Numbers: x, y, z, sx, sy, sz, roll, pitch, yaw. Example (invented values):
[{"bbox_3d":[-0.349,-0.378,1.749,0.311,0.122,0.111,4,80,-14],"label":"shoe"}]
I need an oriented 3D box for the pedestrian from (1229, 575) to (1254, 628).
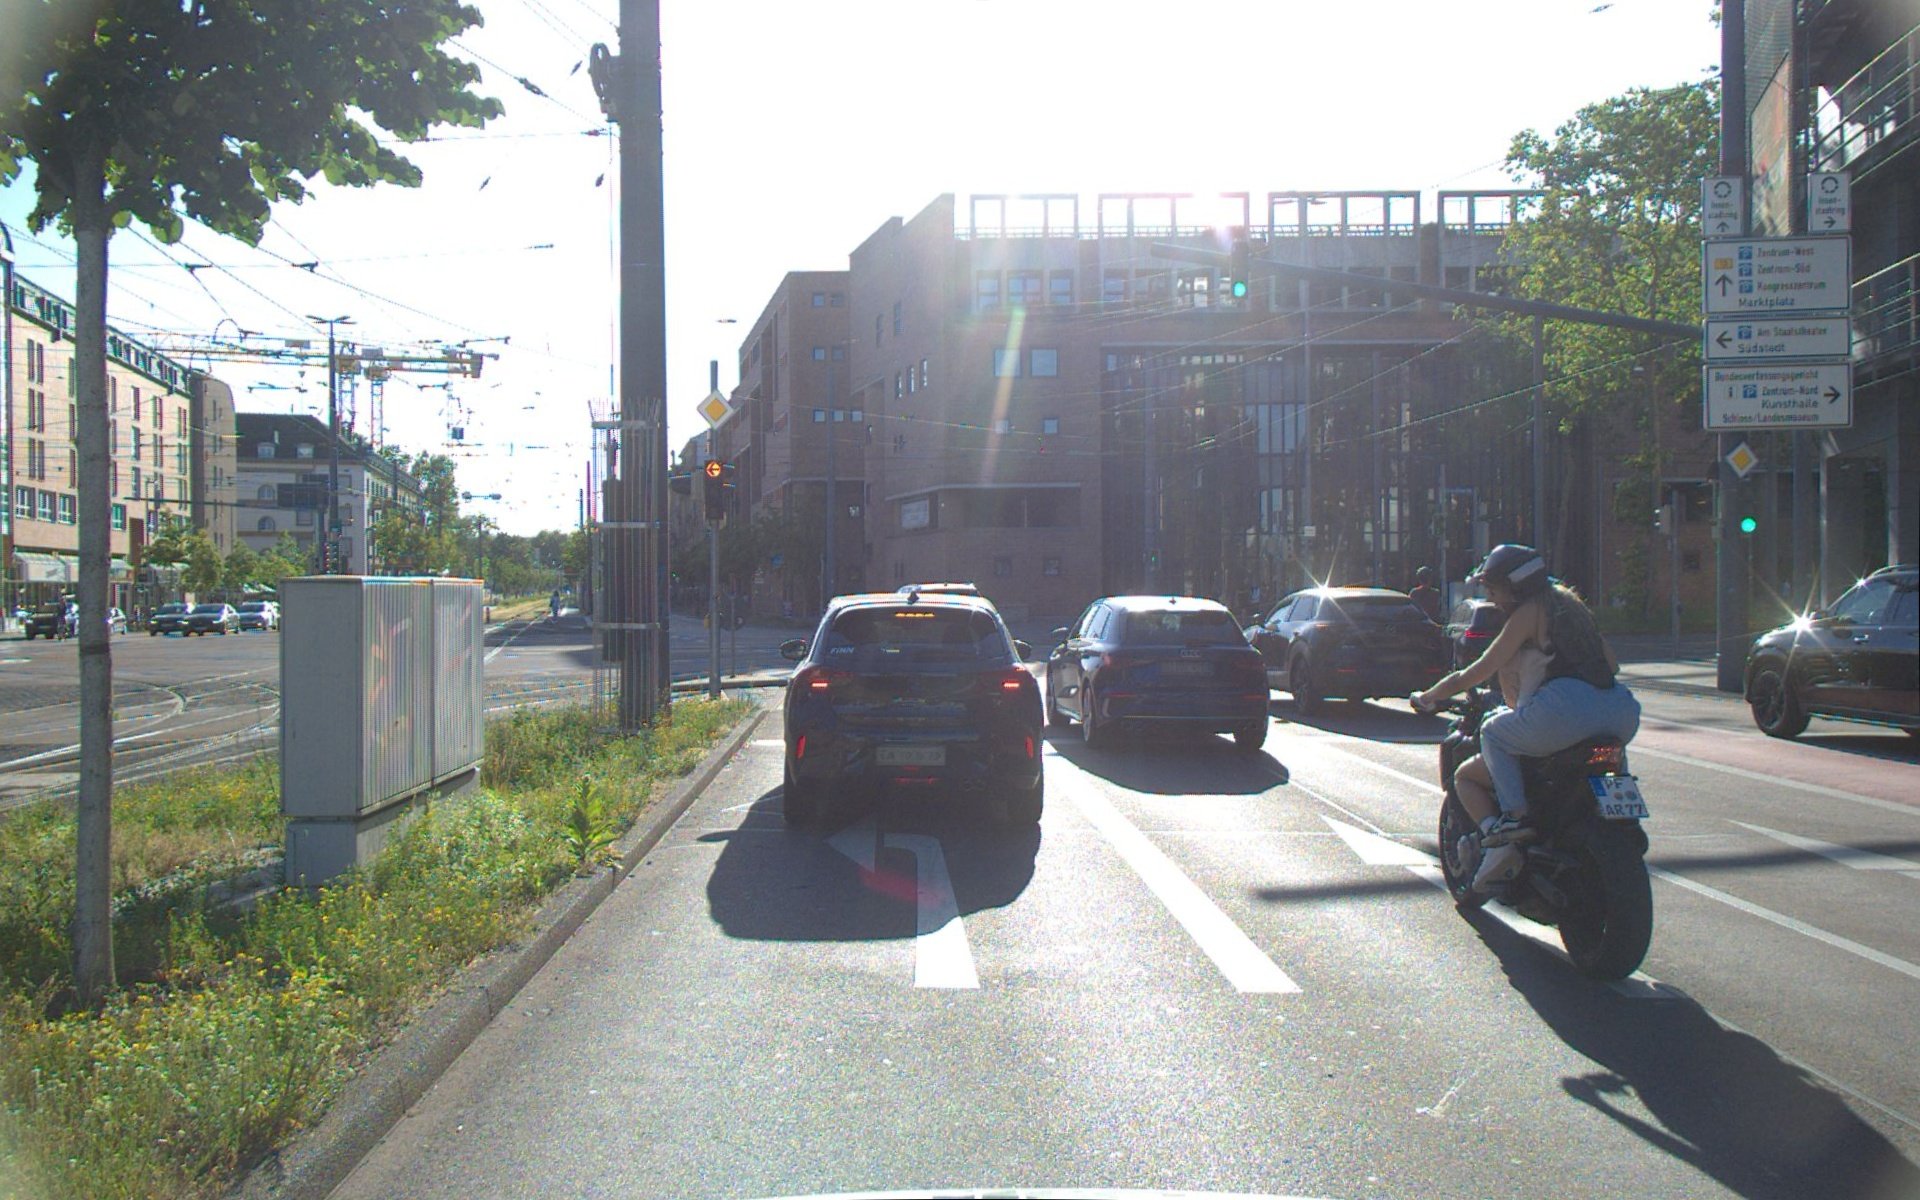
[{"bbox_3d":[9.575,0.059,56.264,0.692,1.789,0.560,-1,0,23],"label":"pedestrian"}]

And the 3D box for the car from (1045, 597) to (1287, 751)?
[{"bbox_3d":[1.982,0.663,17.011,1.703,1.373,3.996,0,0,-5],"label":"car"}]

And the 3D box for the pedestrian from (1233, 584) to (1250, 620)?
[{"bbox_3d":[12.811,0.093,75.297,0.722,1.645,0.561,-1,0,7],"label":"pedestrian"}]

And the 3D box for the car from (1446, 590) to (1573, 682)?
[{"bbox_3d":[9.915,0.592,29.682,1.953,1.444,4.000,2,1,21],"label":"car"}]

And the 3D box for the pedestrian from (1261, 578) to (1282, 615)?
[{"bbox_3d":[13.947,-0.156,74.023,0.881,1.645,0.561,-1,0,7],"label":"pedestrian"}]

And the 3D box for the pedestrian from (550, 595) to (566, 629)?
[{"bbox_3d":[-20.302,0.612,83.466,0.729,1.669,0.766,-1,0,-11],"label":"pedestrian"}]

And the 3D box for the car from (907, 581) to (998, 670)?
[{"bbox_3d":[-0.162,0.477,33.325,1.702,1.680,3.999,0,0,-1],"label":"car"}]

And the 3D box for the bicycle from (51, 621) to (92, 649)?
[{"bbox_3d":[-38.035,1.477,70.815,0.638,1.104,2.920,-1,0,-10],"label":"bicycle"}]

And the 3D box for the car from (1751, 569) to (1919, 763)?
[{"bbox_3d":[9.742,0.585,15.993,1.954,1.780,4.326,-1,0,-3],"label":"car"}]

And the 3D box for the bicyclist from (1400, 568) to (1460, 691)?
[{"bbox_3d":[7.079,0.433,24.927,0.566,1.822,0.862,-1,0,-7],"label":"bicyclist"}]

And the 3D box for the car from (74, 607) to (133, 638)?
[{"bbox_3d":[-44.563,1.160,86.098,1.853,1.536,3.984,-1,0,-15],"label":"car"}]

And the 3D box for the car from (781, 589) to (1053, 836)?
[{"bbox_3d":[-0.280,0.657,11.869,1.615,1.458,3.999,0,0,-1],"label":"car"}]

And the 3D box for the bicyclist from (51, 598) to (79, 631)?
[{"bbox_3d":[-37.960,0.616,70.143,0.743,1.399,0.949,-1,0,-9],"label":"bicyclist"}]

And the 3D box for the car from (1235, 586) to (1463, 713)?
[{"bbox_3d":[4.921,0.573,21.482,1.772,1.482,3.997,1,0,-4],"label":"car"}]

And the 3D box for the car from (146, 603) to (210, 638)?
[{"bbox_3d":[-38.099,0.977,80.723,1.960,1.624,4.720,-1,0,-15],"label":"car"}]

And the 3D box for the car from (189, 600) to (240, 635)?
[{"bbox_3d":[-34.049,0.790,75.581,1.718,1.531,3.859,-1,0,-19],"label":"car"}]

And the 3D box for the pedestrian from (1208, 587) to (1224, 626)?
[{"bbox_3d":[9.841,0.247,63.624,0.519,1.455,0.598,-1,0,-2],"label":"pedestrian"}]

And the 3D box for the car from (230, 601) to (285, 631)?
[{"bbox_3d":[-36.757,0.818,86.600,1.542,1.474,3.995,-1,0,-6],"label":"car"}]

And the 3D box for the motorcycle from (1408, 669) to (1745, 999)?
[{"bbox_3d":[2.591,0.924,7.219,0.759,1.135,1.969,-1,0,1],"label":"motorcycle"}]

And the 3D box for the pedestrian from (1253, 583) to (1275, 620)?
[{"bbox_3d":[13.386,0.068,72.790,0.881,1.645,0.561,-1,0,7],"label":"pedestrian"}]

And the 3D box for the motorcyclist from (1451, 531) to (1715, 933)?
[{"bbox_3d":[2.578,0.510,6.951,0.729,1.557,1.021,-1,0,1],"label":"motorcyclist"}]

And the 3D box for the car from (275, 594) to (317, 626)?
[{"bbox_3d":[-32.932,0.484,82.120,1.718,1.531,3.859,-1,0,-19],"label":"car"}]

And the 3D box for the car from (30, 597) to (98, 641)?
[{"bbox_3d":[-43.079,0.886,79.632,1.960,2.049,3.984,-1,0,-15],"label":"car"}]

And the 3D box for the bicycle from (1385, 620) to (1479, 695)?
[{"bbox_3d":[7.086,0.842,24.929,0.482,1.015,2.324,-1,0,-7],"label":"bicycle"}]
